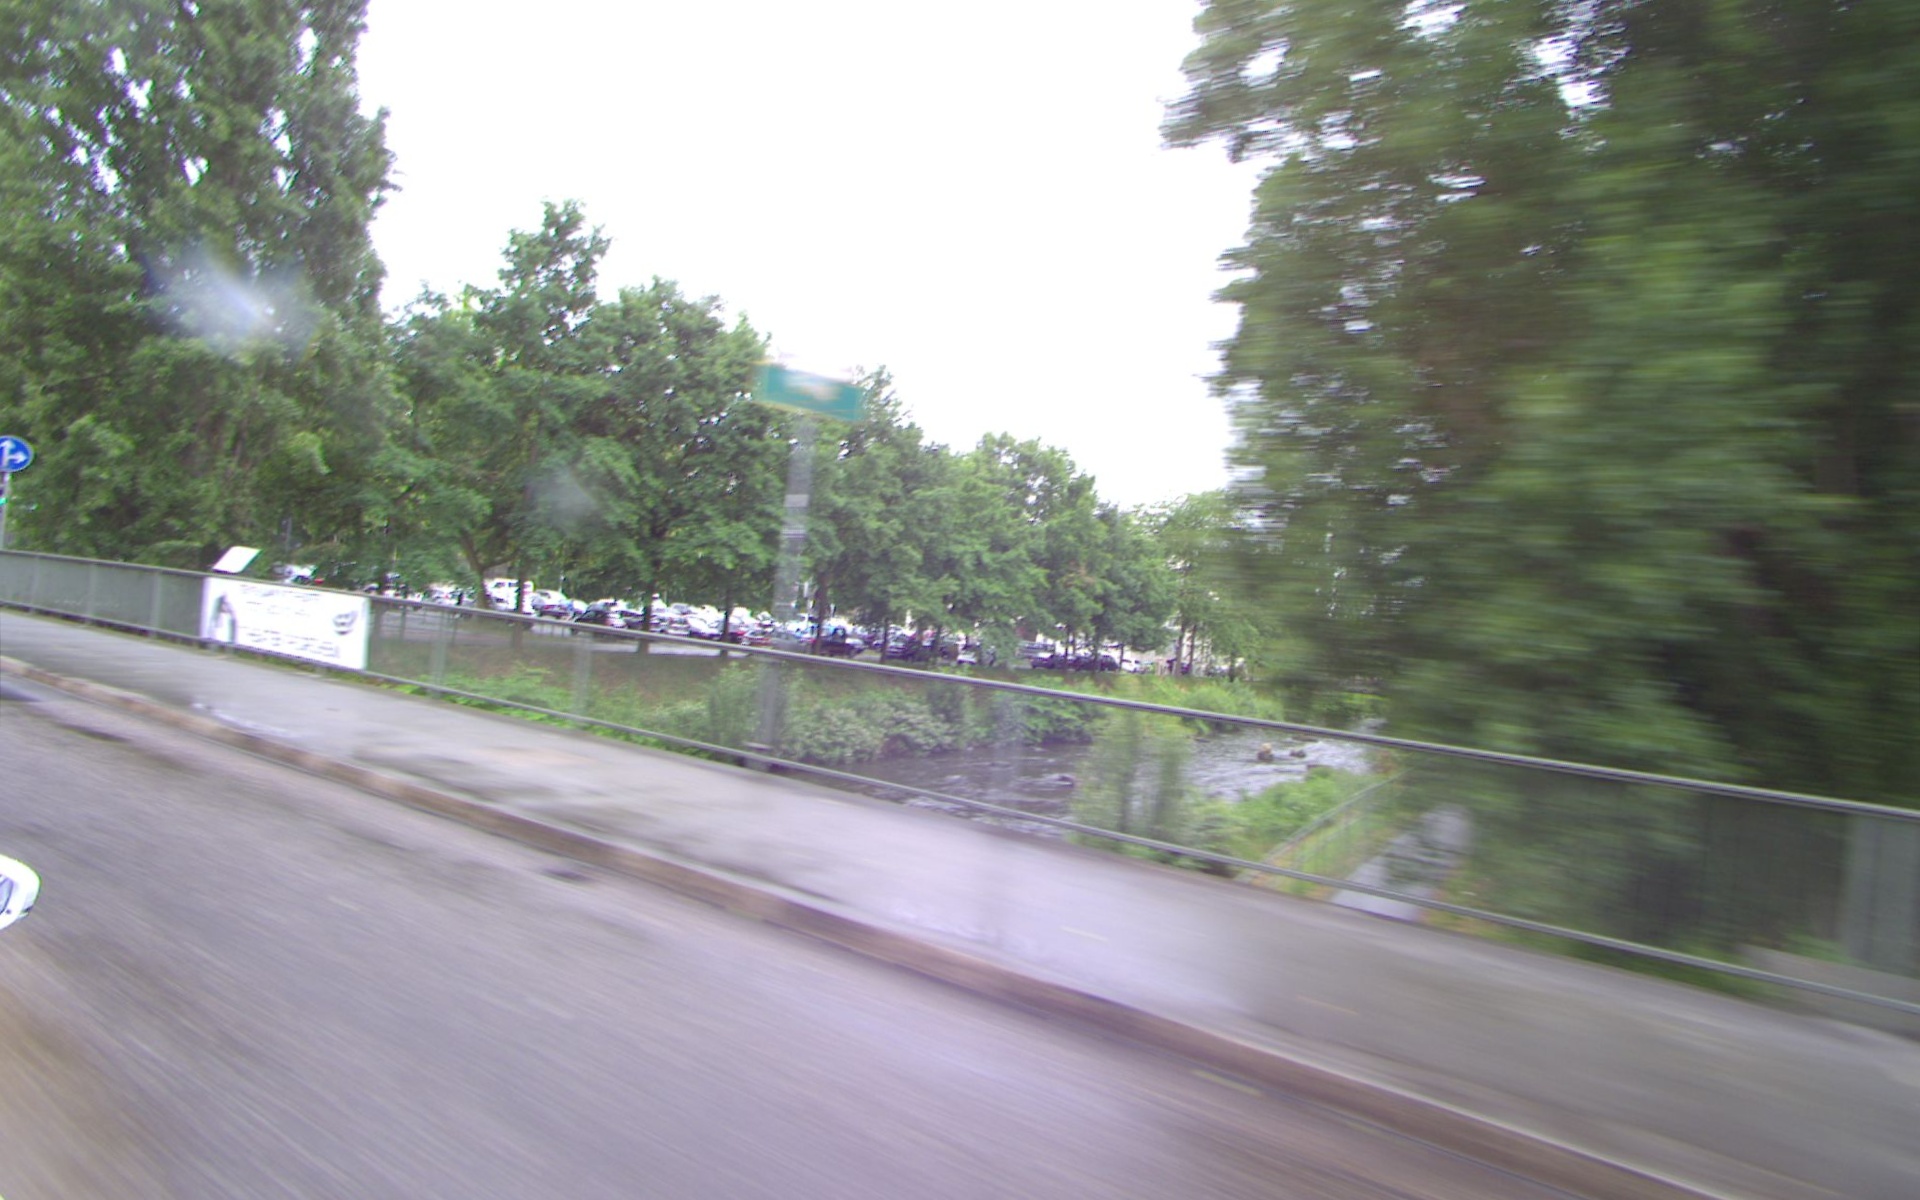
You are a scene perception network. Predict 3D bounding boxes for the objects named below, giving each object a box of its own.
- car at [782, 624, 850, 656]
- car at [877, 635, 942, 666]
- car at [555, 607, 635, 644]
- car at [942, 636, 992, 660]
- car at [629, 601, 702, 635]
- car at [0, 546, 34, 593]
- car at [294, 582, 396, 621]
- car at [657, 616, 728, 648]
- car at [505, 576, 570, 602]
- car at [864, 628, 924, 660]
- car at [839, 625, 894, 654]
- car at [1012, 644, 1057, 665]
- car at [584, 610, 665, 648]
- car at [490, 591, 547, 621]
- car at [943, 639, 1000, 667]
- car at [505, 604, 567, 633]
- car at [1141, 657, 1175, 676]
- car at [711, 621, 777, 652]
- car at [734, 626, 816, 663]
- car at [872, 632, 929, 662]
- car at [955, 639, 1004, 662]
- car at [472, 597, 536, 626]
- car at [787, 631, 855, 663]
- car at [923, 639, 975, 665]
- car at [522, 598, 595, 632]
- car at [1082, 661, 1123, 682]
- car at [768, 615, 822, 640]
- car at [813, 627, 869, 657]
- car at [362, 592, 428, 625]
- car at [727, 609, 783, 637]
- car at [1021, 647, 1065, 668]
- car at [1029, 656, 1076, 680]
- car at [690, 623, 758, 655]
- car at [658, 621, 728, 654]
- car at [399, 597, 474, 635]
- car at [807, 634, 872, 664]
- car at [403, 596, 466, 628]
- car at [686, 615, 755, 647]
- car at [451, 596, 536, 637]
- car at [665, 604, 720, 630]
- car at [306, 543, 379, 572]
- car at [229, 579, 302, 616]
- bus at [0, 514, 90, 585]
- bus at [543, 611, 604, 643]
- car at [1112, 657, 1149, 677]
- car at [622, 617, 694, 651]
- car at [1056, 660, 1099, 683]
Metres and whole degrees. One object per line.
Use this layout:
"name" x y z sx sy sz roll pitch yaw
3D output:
"car" -10.305 2.844 71.825 4.519 1.777 1.934 4 -3 31
"car" -3.149 3.230 63.814 1.970 1.563 3.991 3 -4 35
"car" -19.772 1.368 54.454 3.948 1.608 1.804 4 -2 29
"car" 0.640 4.342 90.831 3.935 1.750 1.953 4 -2 32
"car" -19.337 1.161 65.949 4.519 1.777 1.934 4 -3 31
"car" -44.710 -1.596 45.299 1.939 1.945 3.993 4 -4 34
"car" -32.068 0.102 52.540 1.775 1.640 4.131 4 -2 27
"car" -18.158 2.174 68.366 4.519 1.777 1.934 4 -3 31
"car" -39.818 -1.006 94.841 5.289 1.777 1.919 8 -4 -36
"car" -4.985 3.293 75.972 3.931 2.004 1.999 4 -2 27
"car" -7.765 3.303 83.826 3.931 2.037 1.999 4 -2 27
"car" 7.328 5.365 99.084 3.927 1.750 1.957 5 -2 22
"car" -18.895 1.643 56.695 4.271 1.729 1.804 4 -2 29
"car" -37.043 0.482 84.401 4.519 2.036 1.998 4 -3 31
"car" 0.844 3.777 70.984 1.970 1.563 3.991 3 -4 35
"car" -29.762 1.291 70.522 4.133 1.567 1.810 4 -3 31
"car" 20.343 6.839 103.096 1.884 1.563 3.991 3 -4 35
"car" -14.033 2.377 65.432 3.838 1.605 1.804 4 -2 29
"car" -9.711 2.368 52.973 1.862 1.563 3.991 3 -4 35
"car" -4.710 3.713 79.436 3.931 2.004 1.999 4 -2 27
"car" 1.800 4.705 93.304 3.935 1.750 1.953 4 -2 32
"car" -31.017 0.772 68.420 4.133 1.567 1.810 4 -3 31
"car" -8.378 2.885 61.023 1.731 1.563 3.991 3 -4 35
"car" -0.940 4.506 86.677 3.931 1.837 1.999 4 -2 27
"car" -26.095 0.946 65.412 4.519 1.777 1.934 4 -3 31
"car" 12.905 6.440 90.830 1.970 1.563 3.991 3 -4 35
"car" -15.301 2.513 93.381 4.514 1.868 2.000 4 -3 26
"car" -9.690 3.415 81.999 3.931 2.037 1.999 4 -2 27
"car" -34.335 0.497 61.083 3.938 1.669 1.821 3 -4 35
"car" -18.187 2.067 89.188 4.519 2.036 1.998 4 -3 31
"car" 8.419 5.809 102.189 3.927 1.750 1.957 5 -2 22
"car" 7.525 5.538 81.572 1.970 1.563 3.991 3 -4 35
"car" -14.837 2.451 63.246 3.838 1.605 1.804 4 -2 29
"car" -16.239 2.277 61.197 3.838 1.605 1.804 4 -2 29
"car" -29.883 0.908 57.419 3.880 1.784 1.804 4 -2 29
"car" -8.901 3.581 74.145 4.368 1.777 1.934 4 -3 31
"car" -33.230 0.734 63.612 3.938 1.669 1.821 3 -4 35
"car" -16.894 2.194 70.936 4.519 1.777 1.934 4 -3 31
"car" -25.538 0.901 55.036 4.509 1.784 1.804 4 -2 29
"car" -22.500 1.416 84.490 4.183 1.721 1.998 4 -3 31
"car" -55.245 -3.804 90.091 5.269 1.777 1.926 7 -3 -26
"car" -37.474 -0.118 54.279 3.574 1.671 1.598 4 -1 26
"bus" -83.453 -4.992 82.374 3.050 5.269 17.941 4 -4 34
"bus" -28.226 1.965 73.522 3.935 2.034 2.000 1 -6 31
"car" 16.665 6.546 98.164 1.884 1.563 3.991 3 -4 35
"car" -17.730 1.980 59.015 3.838 1.605 1.804 4 -2 29
"car" 10.173 6.199 86.977 1.970 1.563 3.991 3 -4 35
